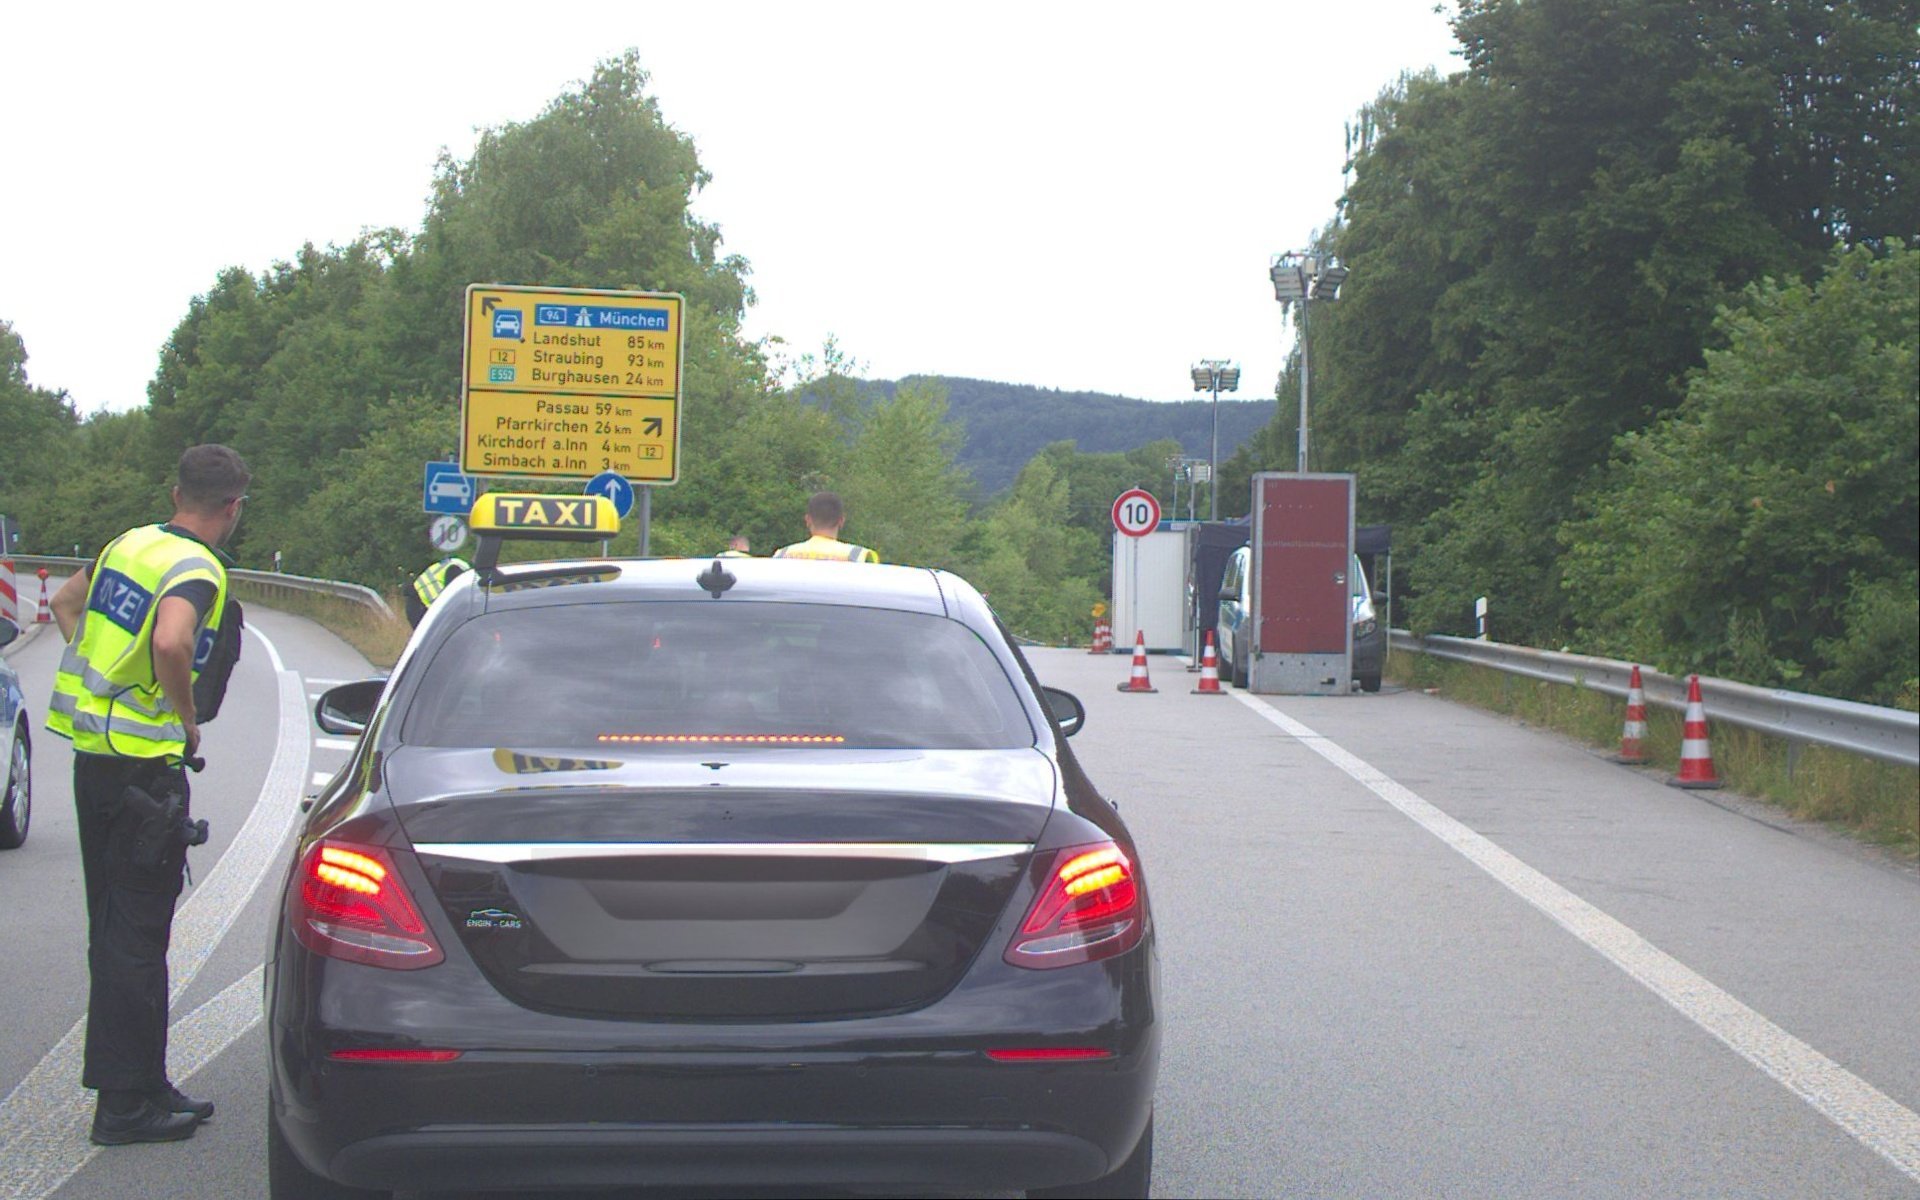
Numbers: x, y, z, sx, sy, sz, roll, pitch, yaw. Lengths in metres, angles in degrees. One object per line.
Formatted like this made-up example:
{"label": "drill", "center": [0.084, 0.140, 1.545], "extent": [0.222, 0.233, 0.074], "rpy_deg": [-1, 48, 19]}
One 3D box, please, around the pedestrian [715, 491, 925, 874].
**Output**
{"label": "pedestrian", "center": [-0.679, 0.386, 16.873], "extent": [0.813, 1.824, 0.809], "rpy_deg": [0, 1, 16]}

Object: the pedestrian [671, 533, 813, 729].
{"label": "pedestrian", "center": [-1.931, 0.264, 30.354], "extent": [0.908, 1.692, 0.914], "rpy_deg": [1, 0, -32]}

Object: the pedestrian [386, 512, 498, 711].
{"label": "pedestrian", "center": [-4.679, 0.094, 31.102], "extent": [0.910, 1.763, 0.912], "rpy_deg": [1, 1, -3]}

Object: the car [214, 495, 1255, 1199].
{"label": "car", "center": [-0.598, 0.579, 8.349], "extent": [1.855, 1.589, 4.376], "rpy_deg": [0, 1, -5]}

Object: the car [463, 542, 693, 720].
{"label": "car", "center": [-3.392, 0.231, 31.203], "extent": [1.855, 1.493, 4.257], "rpy_deg": [0, 1, -3]}

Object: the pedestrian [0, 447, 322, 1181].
{"label": "pedestrian", "center": [-2.050, 0.494, 8.488], "extent": [0.815, 1.712, 0.763], "rpy_deg": [0, 1, -20]}

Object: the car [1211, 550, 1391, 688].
{"label": "car", "center": [4.513, 0.203, 46.234], "extent": [1.916, 1.672, 5.083], "rpy_deg": [2, 1, 1]}

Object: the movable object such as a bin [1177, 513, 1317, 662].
{"label": "movable object such as a bin", "center": [4.555, -0.223, 55.073], "extent": [1.993, 2.272, 4.168], "rpy_deg": [1, 1, 2]}

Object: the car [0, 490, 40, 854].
{"label": "car", "center": [-5.422, 0.353, 15.296], "extent": [1.868, 1.737, 4.009], "rpy_deg": [0, 1, -5]}
